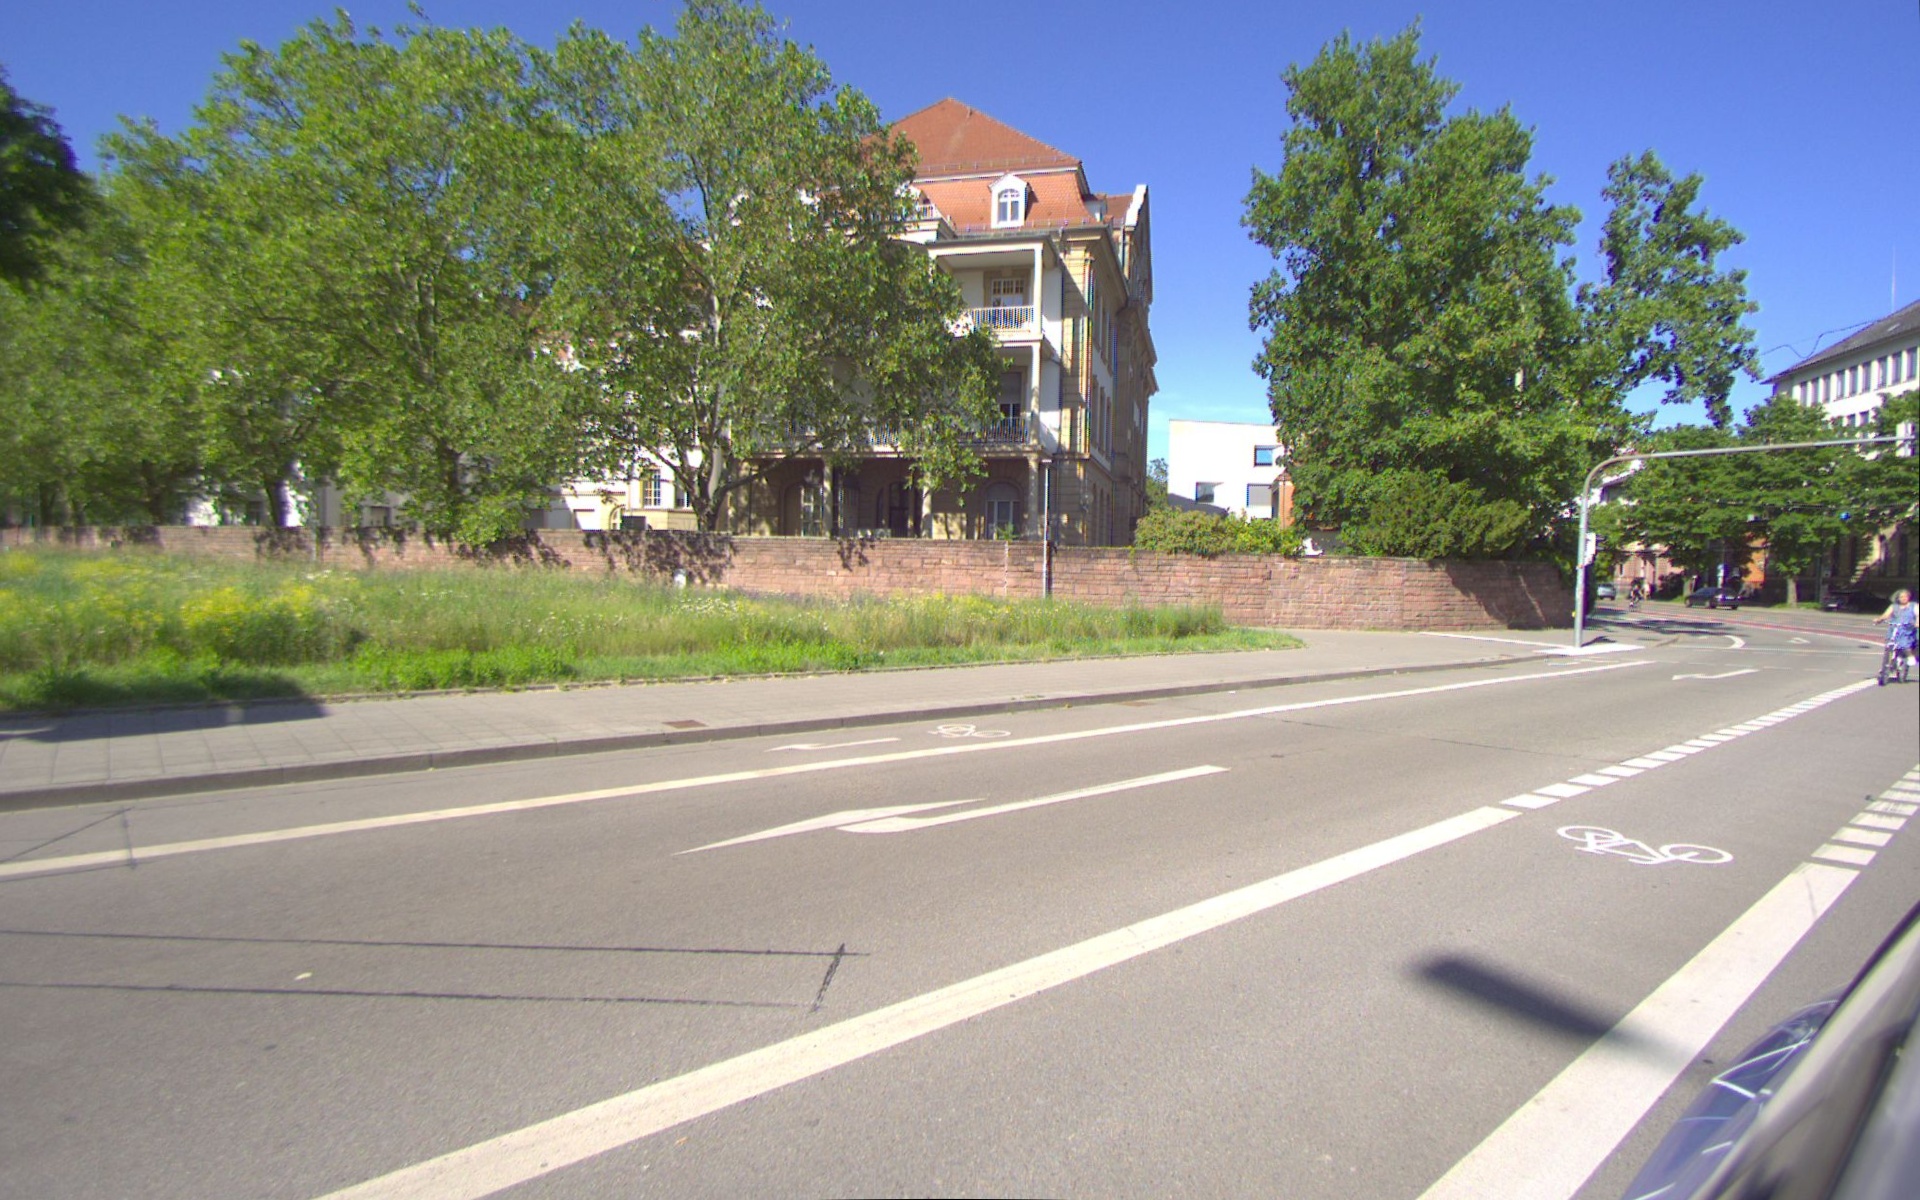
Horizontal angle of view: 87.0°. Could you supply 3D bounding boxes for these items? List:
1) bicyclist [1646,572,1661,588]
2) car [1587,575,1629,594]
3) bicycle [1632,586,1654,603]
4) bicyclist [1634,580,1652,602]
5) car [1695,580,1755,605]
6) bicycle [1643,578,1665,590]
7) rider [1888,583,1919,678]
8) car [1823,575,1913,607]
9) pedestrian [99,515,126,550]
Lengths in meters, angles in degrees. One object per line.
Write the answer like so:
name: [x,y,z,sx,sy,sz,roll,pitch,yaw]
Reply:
bicyclist: [61.464,-1.801,89.684,0.720,1.402,0.895,1,1,3]
car: [58.528,-1.396,91.527,1.834,1.561,4.225,3,3,13]
bicycle: [41.406,-0.336,61.344,1.723,1.018,0.711,0,1,-41]
bicyclist: [41.353,-0.542,61.286,0.764,1.333,0.711,0,1,-40]
car: [53.127,-0.561,70.402,1.770,1.517,4.552,3,3,17]
bicycle: [61.467,-1.453,89.654,0.720,1.003,1.834,1,2,3]
rider: [16.897,0.521,17.839,0.971,1.640,0.658,0,1,-41]
car: [61.205,-0.643,68.256,4.615,2.038,2.004,1,2,-9]
pedestrian: [-36.349,-2.892,43.417,0.516,1.461,0.721,0,0,20]
